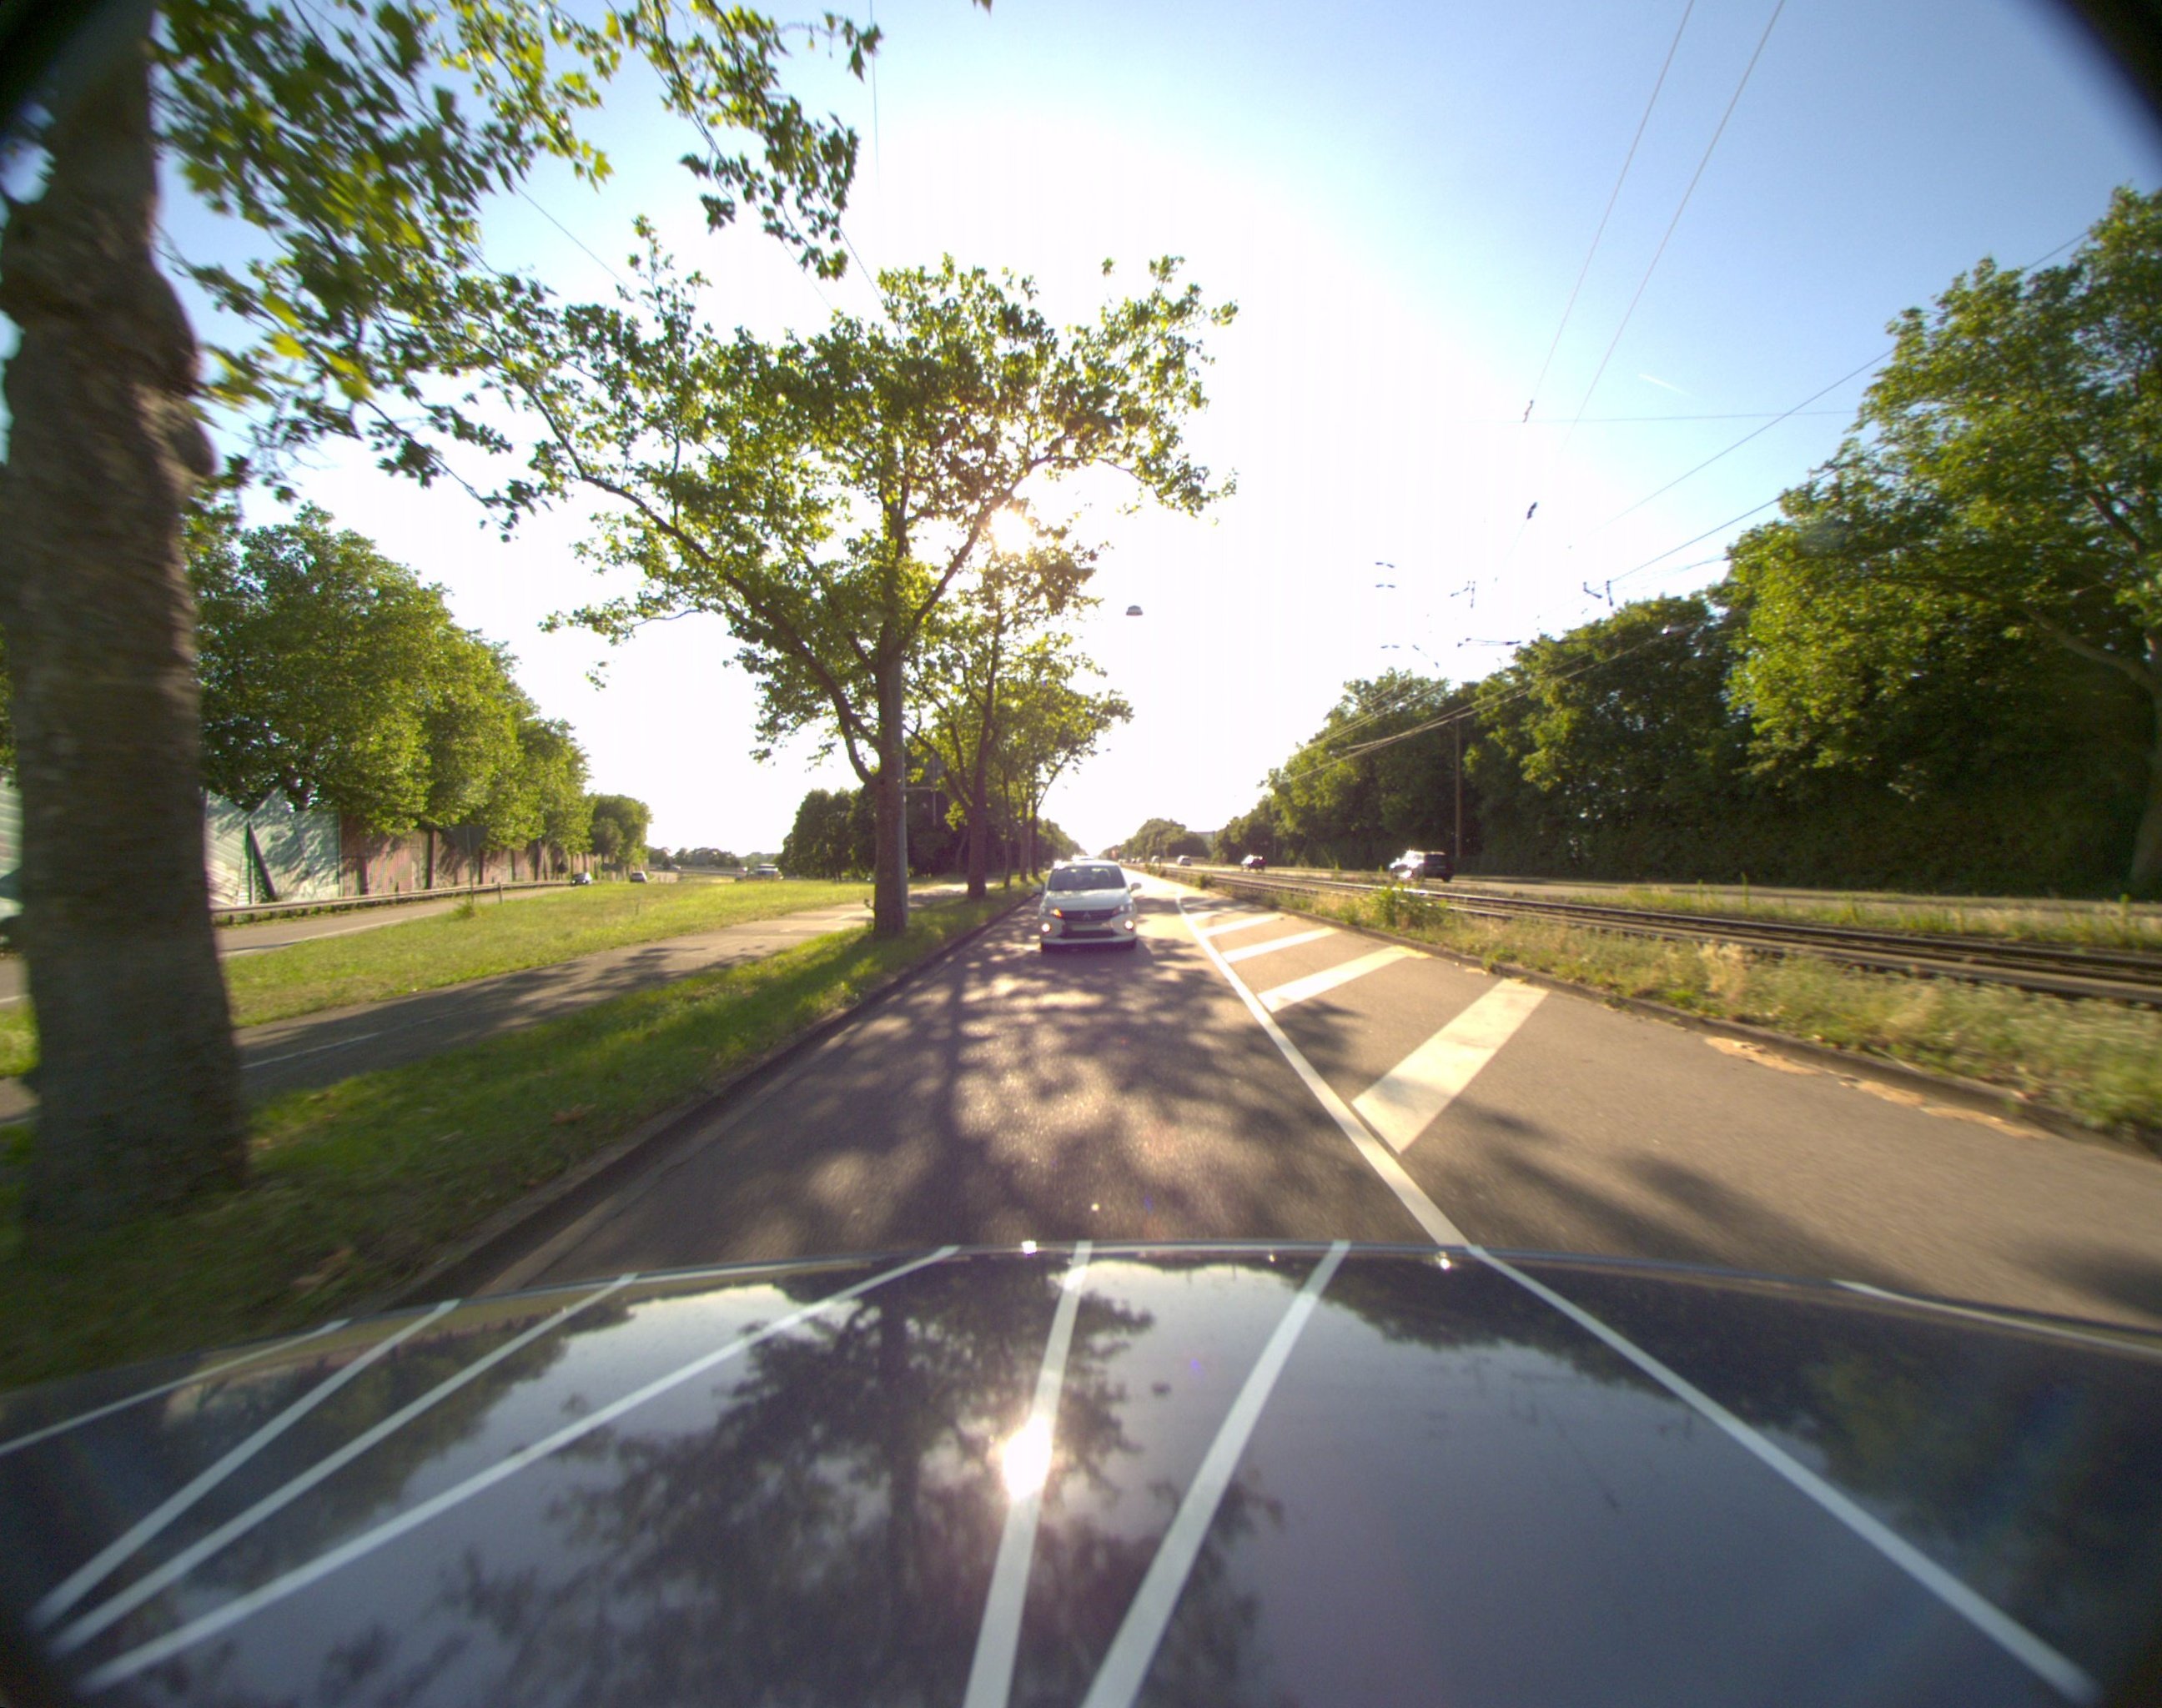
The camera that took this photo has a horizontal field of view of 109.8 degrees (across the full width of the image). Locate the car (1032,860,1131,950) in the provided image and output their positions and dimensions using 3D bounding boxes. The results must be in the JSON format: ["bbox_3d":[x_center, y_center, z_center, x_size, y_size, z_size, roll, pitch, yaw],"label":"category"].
[{"bbox_3d":[0.040,0.929,15.488,1.709,1.503,3.862,-2,0,1],"label":"car"}]

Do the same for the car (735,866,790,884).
[{"bbox_3d":[-28.332,1.835,67.688,4.130,1.409,1.695,-2,0,4],"label":"car"}]

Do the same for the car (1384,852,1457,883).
[{"bbox_3d":[19.721,0.741,44.344,1.903,1.684,4.940,1,0,-2],"label":"car"}]

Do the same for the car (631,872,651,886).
[{"bbox_3d":[-59.089,3.368,102.065,1.817,1.762,3.855,-2,0,-23],"label":"car"}]

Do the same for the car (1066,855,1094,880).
[{"bbox_3d":[-0.040,0.891,51.089,1.709,1.512,3.844,-2,0,1],"label":"car"}]

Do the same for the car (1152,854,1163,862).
[{"bbox_3d":[17.672,0.942,176.367,1.851,1.724,4.930,1,0,-2],"label":"car"}]

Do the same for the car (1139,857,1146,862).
[{"bbox_3d":[17.585,1.550,216.998,1.695,1.547,4.190,1,0,0],"label":"car"}]

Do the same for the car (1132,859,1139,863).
[{"bbox_3d":[17.012,2.194,237.459,1.661,1.424,4.501,1,0,1],"label":"car"}]

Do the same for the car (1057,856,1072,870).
[{"bbox_3d":[-2.300,1.202,104.484,1.886,1.789,3.644,-2,0,-2],"label":"car"}]

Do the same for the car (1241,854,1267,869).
[{"bbox_3d":[18.773,0.807,82.474,1.715,1.459,4.347,1,0,-2],"label":"car"}]

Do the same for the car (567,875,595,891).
[{"bbox_3d":[-53.046,3.047,80.696,1.801,1.432,4.215,-2,0,-25],"label":"car"}]

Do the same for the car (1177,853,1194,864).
[{"bbox_3d":[17.988,0.763,130.630,1.968,1.697,4.943,1,0,-2],"label":"car"}]

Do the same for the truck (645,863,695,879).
[{"bbox_3d":[-100.085,4.143,185.264,10.627,3.473,2.646,3,-1,-28],"label":"truck"}]
